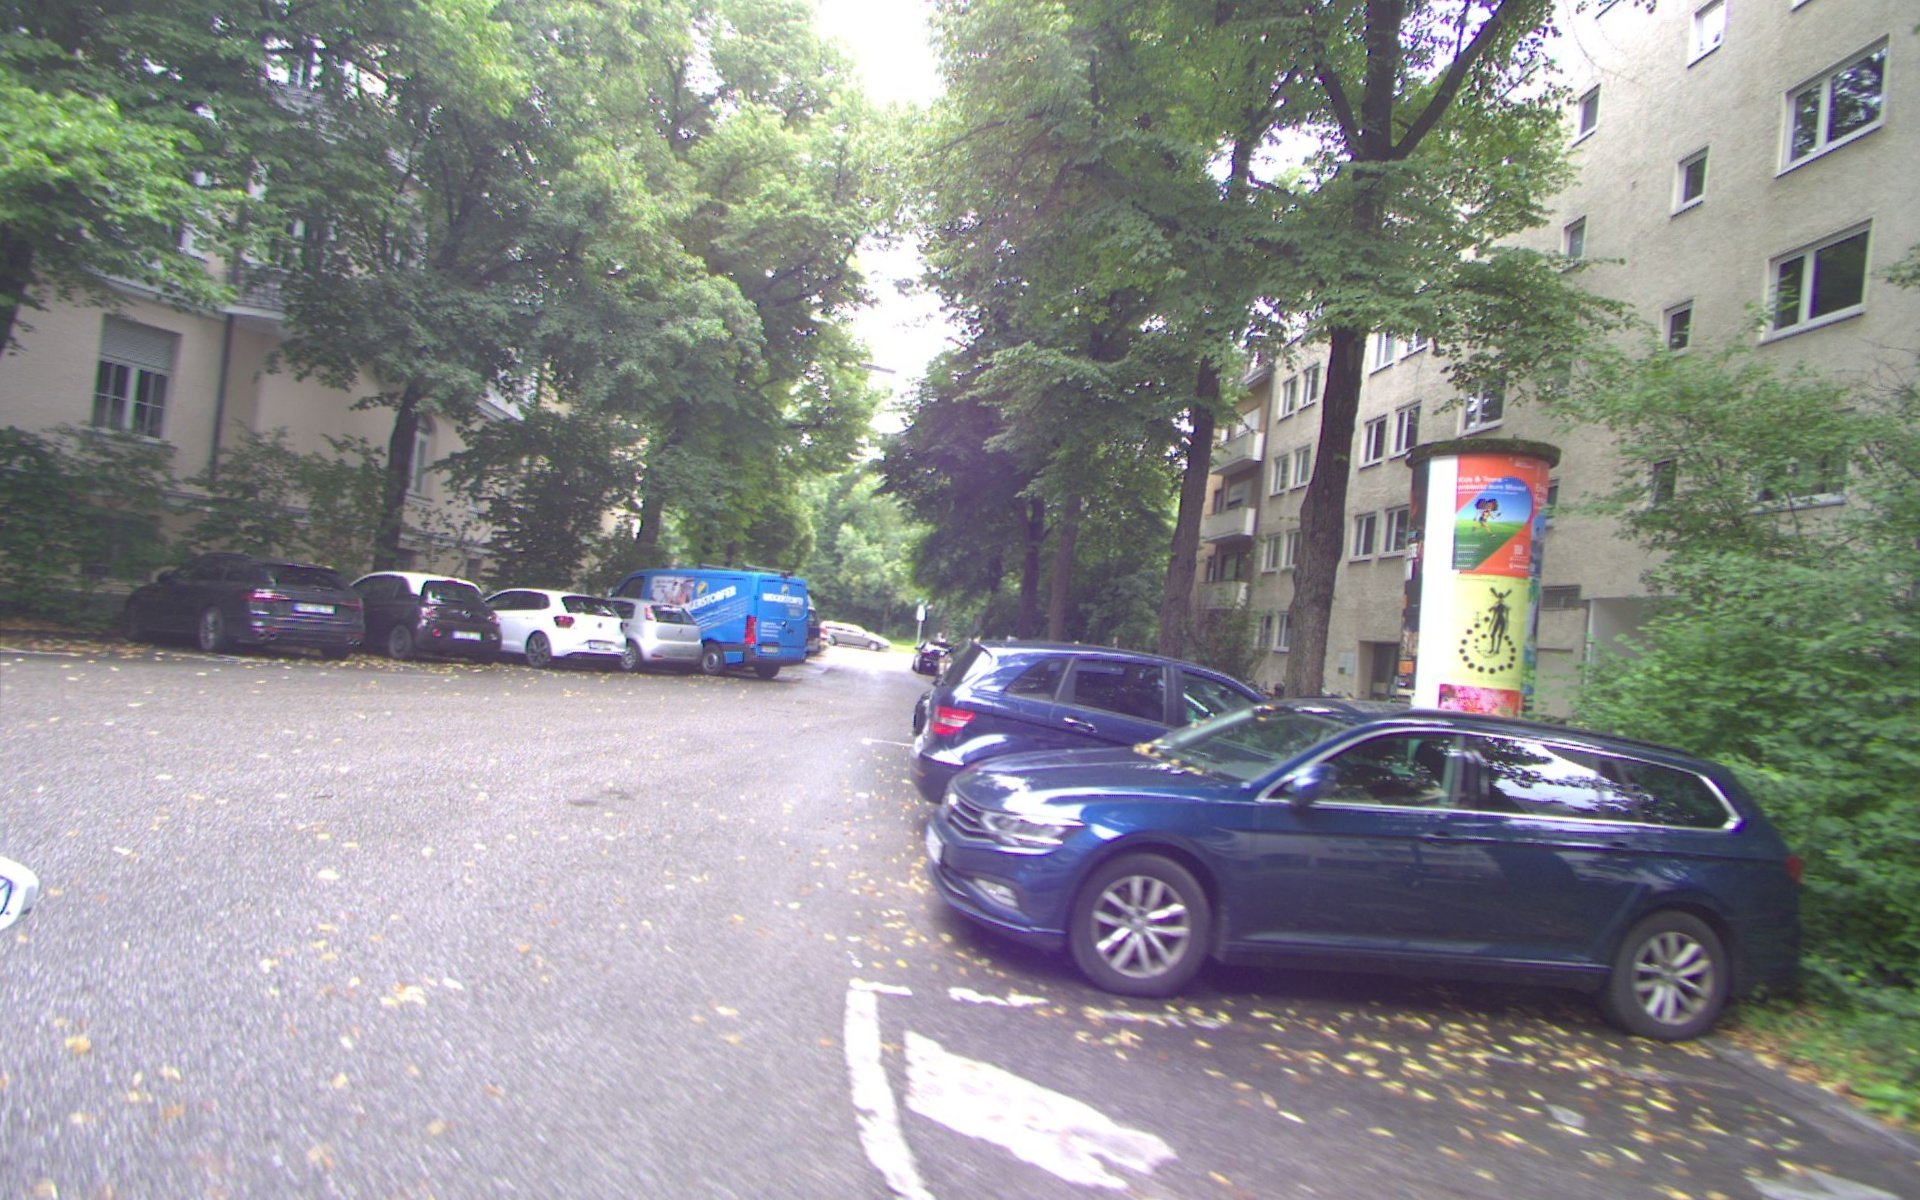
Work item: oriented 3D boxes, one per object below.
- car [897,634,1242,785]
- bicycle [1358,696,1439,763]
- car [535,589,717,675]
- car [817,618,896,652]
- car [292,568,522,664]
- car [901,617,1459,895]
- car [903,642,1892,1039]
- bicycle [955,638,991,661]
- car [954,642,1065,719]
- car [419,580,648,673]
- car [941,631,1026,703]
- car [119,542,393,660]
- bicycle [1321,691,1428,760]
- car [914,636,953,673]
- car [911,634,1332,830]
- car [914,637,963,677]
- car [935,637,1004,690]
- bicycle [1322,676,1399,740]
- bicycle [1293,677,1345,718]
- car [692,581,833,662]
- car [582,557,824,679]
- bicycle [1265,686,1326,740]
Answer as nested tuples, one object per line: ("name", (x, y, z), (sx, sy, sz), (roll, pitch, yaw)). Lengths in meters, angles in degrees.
("car", (1.366, 1.397, 13.158), (4.030, 1.410, 1.731), (7, -2, -13))
("bicycle", (9.136, 2.679, 21.010), (0.439, 1.137, 1.767), (7, -2, -15))
("car", (-7.028, 0.659, 21.117), (3.496, 1.449, 1.642), (4, -3, 31))
("car", (-6.643, 2.260, 64.823), (4.728, 1.513, 1.843), (7, -1, 1))
("car", (-9.653, 0.275, 17.544), (3.689, 1.441, 1.830), (1, -4, 31))
("car", (1.570, 1.164, 8.092), (3.913, 1.573, 1.756), (7, -2, -4))
("car", (2.149, 1.222, 5.619), (4.653, 1.393, 1.958), (7, -2, -9))
("bicycle", (0.682, 2.518, 50.997), (1.724, 0.993, 0.273), (6, -1, 4))
("car", (1.055, 1.811, 23.584), (1.871, 1.429, 4.429), (6, -2, -5))
("car", (-8.272, 0.500, 19.444), (4.215, 1.530, 1.801), (1, -4, 30))
("car", (0.564, 1.828, 28.546), (1.805, 1.648, 4.525), (7, -2, -4))
("car", (-10.563, -0.010, 15.032), (4.097, 1.442, 1.860), (3, -3, 33))
("bicycle", (8.115, 2.455, 19.710), (1.843, 1.095, 0.548), (8, -1, -9))
("car", (-1.270, 2.552, 47.579), (1.623, 1.491, 3.644), (7, -2, -2))
("car", (1.571, 1.327, 10.576), (3.880, 1.464, 1.825), (7, -2, -8))
("car", (-0.975, 2.411, 43.334), (1.657, 1.373, 4.008), (8, -2, -5))
("car", (0.246, 2.068, 33.559), (1.596, 1.429, 3.777), (7, -2, -8))
("bicycle", (8.493, 2.275, 21.389), (0.439, 1.137, 1.767), (7, -2, -15))
("bicycle", (10.803, 2.934, 30.364), (0.538, 1.035, 2.068), (7, -2, -6))
("car", (-6.806, 0.748, 34.737), (4.152, 2.262, 1.935), (6, -1, 20))
("car", (-5.993, 0.381, 23.238), (5.406, 2.381, 2.063), (3, -3, 31))
("bicycle", (7.940, 2.686, 23.786), (1.759, 1.137, 0.440), (8, -2, -41))
